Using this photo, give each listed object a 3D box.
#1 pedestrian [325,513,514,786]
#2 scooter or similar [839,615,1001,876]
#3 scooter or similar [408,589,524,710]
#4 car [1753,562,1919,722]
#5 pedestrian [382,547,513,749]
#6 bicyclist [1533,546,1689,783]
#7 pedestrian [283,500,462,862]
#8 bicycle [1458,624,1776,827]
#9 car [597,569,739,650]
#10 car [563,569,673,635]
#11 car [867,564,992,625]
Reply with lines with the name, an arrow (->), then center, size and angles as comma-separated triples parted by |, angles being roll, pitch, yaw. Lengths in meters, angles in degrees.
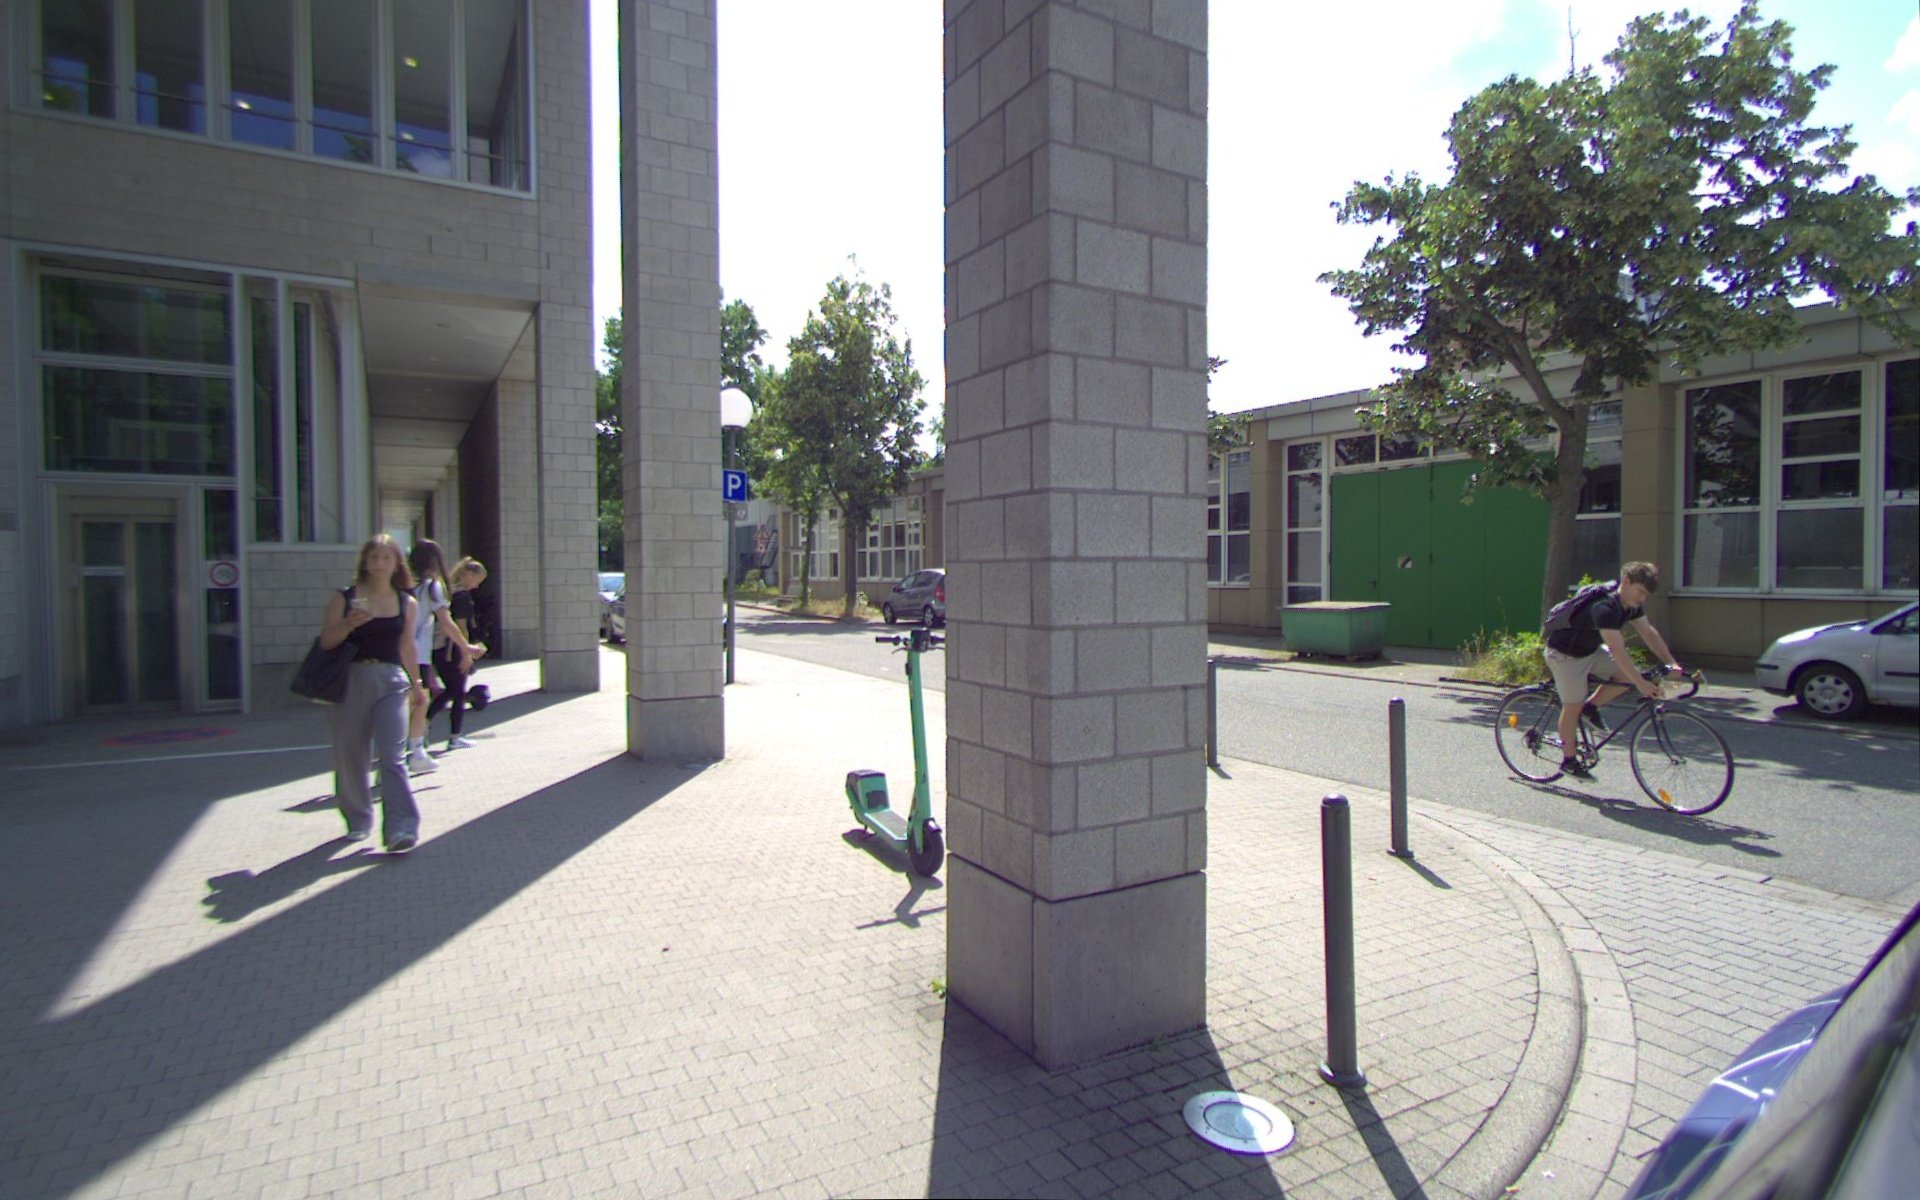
pedestrian -> -3.715, 0.306, 7.003 | 0.770, 1.745, 0.855 | 0, 1, 20
scooter or similar -> -0.249, 0.687, 5.335 | 0.435, 1.165, 1.161 | 0, 1, -25
scooter or similar -> -5.378, 0.509, 10.996 | 1.414, 1.239, 0.355 | 1, 1, 27
car -> 10.220, 0.409, 9.715 | 1.621, 1.494, 3.784 | -3, 3, -30
pedestrian -> -4.321, 0.370, 8.575 | 0.582, 1.619, 0.822 | 1, 1, 19
bicyclist -> 4.572, 0.407, 7.126 | 0.593, 1.553, 0.729 | -3, 3, -28
pedestrian -> -3.053, 0.355, 5.241 | 0.690, 1.675, 0.882 | -1, 2, -38
bicycle -> 4.556, 0.798, 7.175 | 0.593, 1.121, 1.833 | -3, 3, -28
car -> -6.107, 0.107, 20.833 | 1.815, 1.494, 4.138 | -1, 2, -31
car -> -8.718, -0.021, 25.590 | 1.815, 1.494, 4.138 | -1, 2, -31
car -> -0.959, -0.216, 29.165 | 1.815, 1.597, 4.138 | -2, 3, -31
